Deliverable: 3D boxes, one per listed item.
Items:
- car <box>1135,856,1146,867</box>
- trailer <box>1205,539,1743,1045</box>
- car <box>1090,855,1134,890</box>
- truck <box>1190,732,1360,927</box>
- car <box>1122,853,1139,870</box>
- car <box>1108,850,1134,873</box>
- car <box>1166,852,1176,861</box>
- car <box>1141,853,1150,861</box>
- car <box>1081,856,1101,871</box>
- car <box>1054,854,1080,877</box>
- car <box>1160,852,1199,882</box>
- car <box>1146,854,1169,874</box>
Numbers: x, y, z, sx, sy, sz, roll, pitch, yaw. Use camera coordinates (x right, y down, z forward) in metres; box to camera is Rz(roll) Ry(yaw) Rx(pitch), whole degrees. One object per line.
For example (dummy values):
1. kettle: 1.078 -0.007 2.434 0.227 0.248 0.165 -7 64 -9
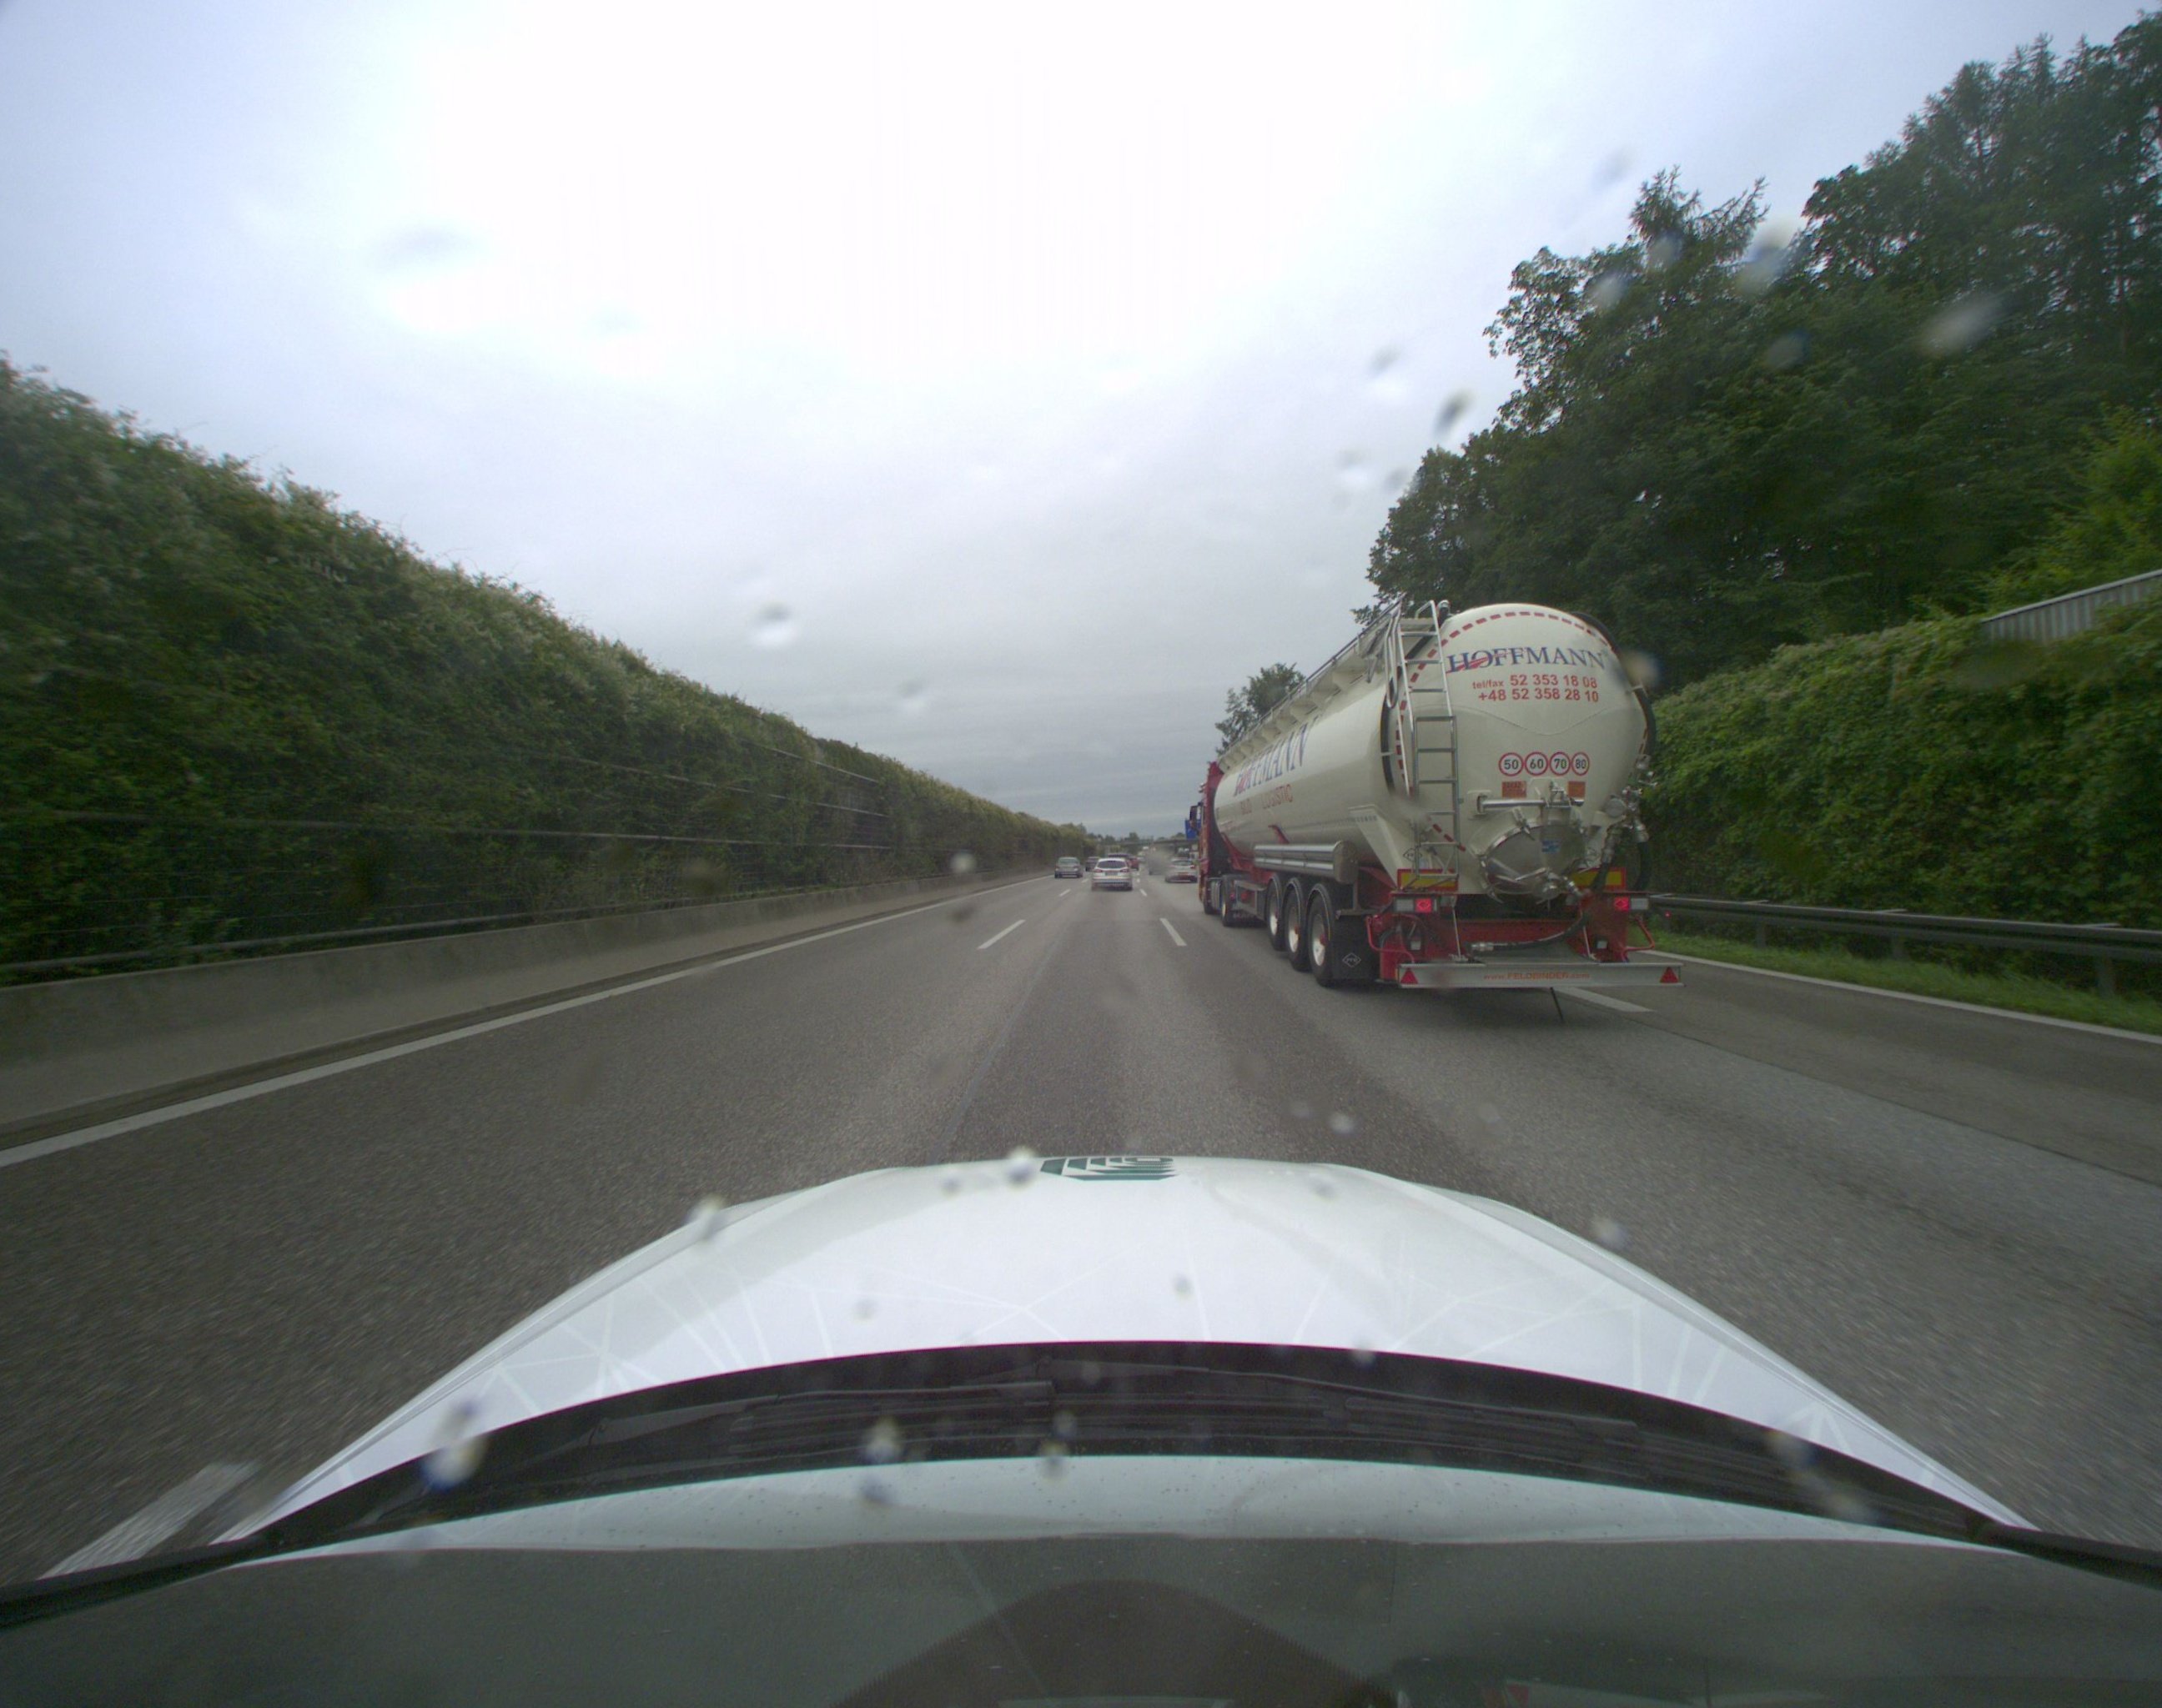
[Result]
1. car: 9.928 1.271 135.705 1.781 1.779 3.876 -2 -1 5
2. trailer: 4.097 -0.518 13.018 2.658 3.938 13.137 -1 0 2
3. car: 1.439 0.810 37.752 1.884 1.504 5.032 0 0 2
4. truck: 4.393 -0.478 19.904 2.685 3.912 6.558 -1 -1 2
5. car: 5.153 0.750 84.249 1.681 1.506 3.877 2 1 5
6. car: 2.915 0.501 59.803 1.683 1.506 3.872 2 1 1
7. car: 16.472 0.480 148.242 1.679 1.539 3.880 -2 0 8
8. car: 13.291 0.589 167.714 1.681 1.539 3.875 -2 0 4
9. car: 1.081 0.947 84.315 1.712 1.512 5.037 -2 0 5
10. car: -0.987 0.879 59.702 1.714 1.469 5.030 -2 -2 1
11. car: 5.734 0.738 47.703 1.809 1.625 5.032 -2 0 2
12. car: 6.249 0.828 66.757 1.682 1.506 3.874 -1 -1 3
